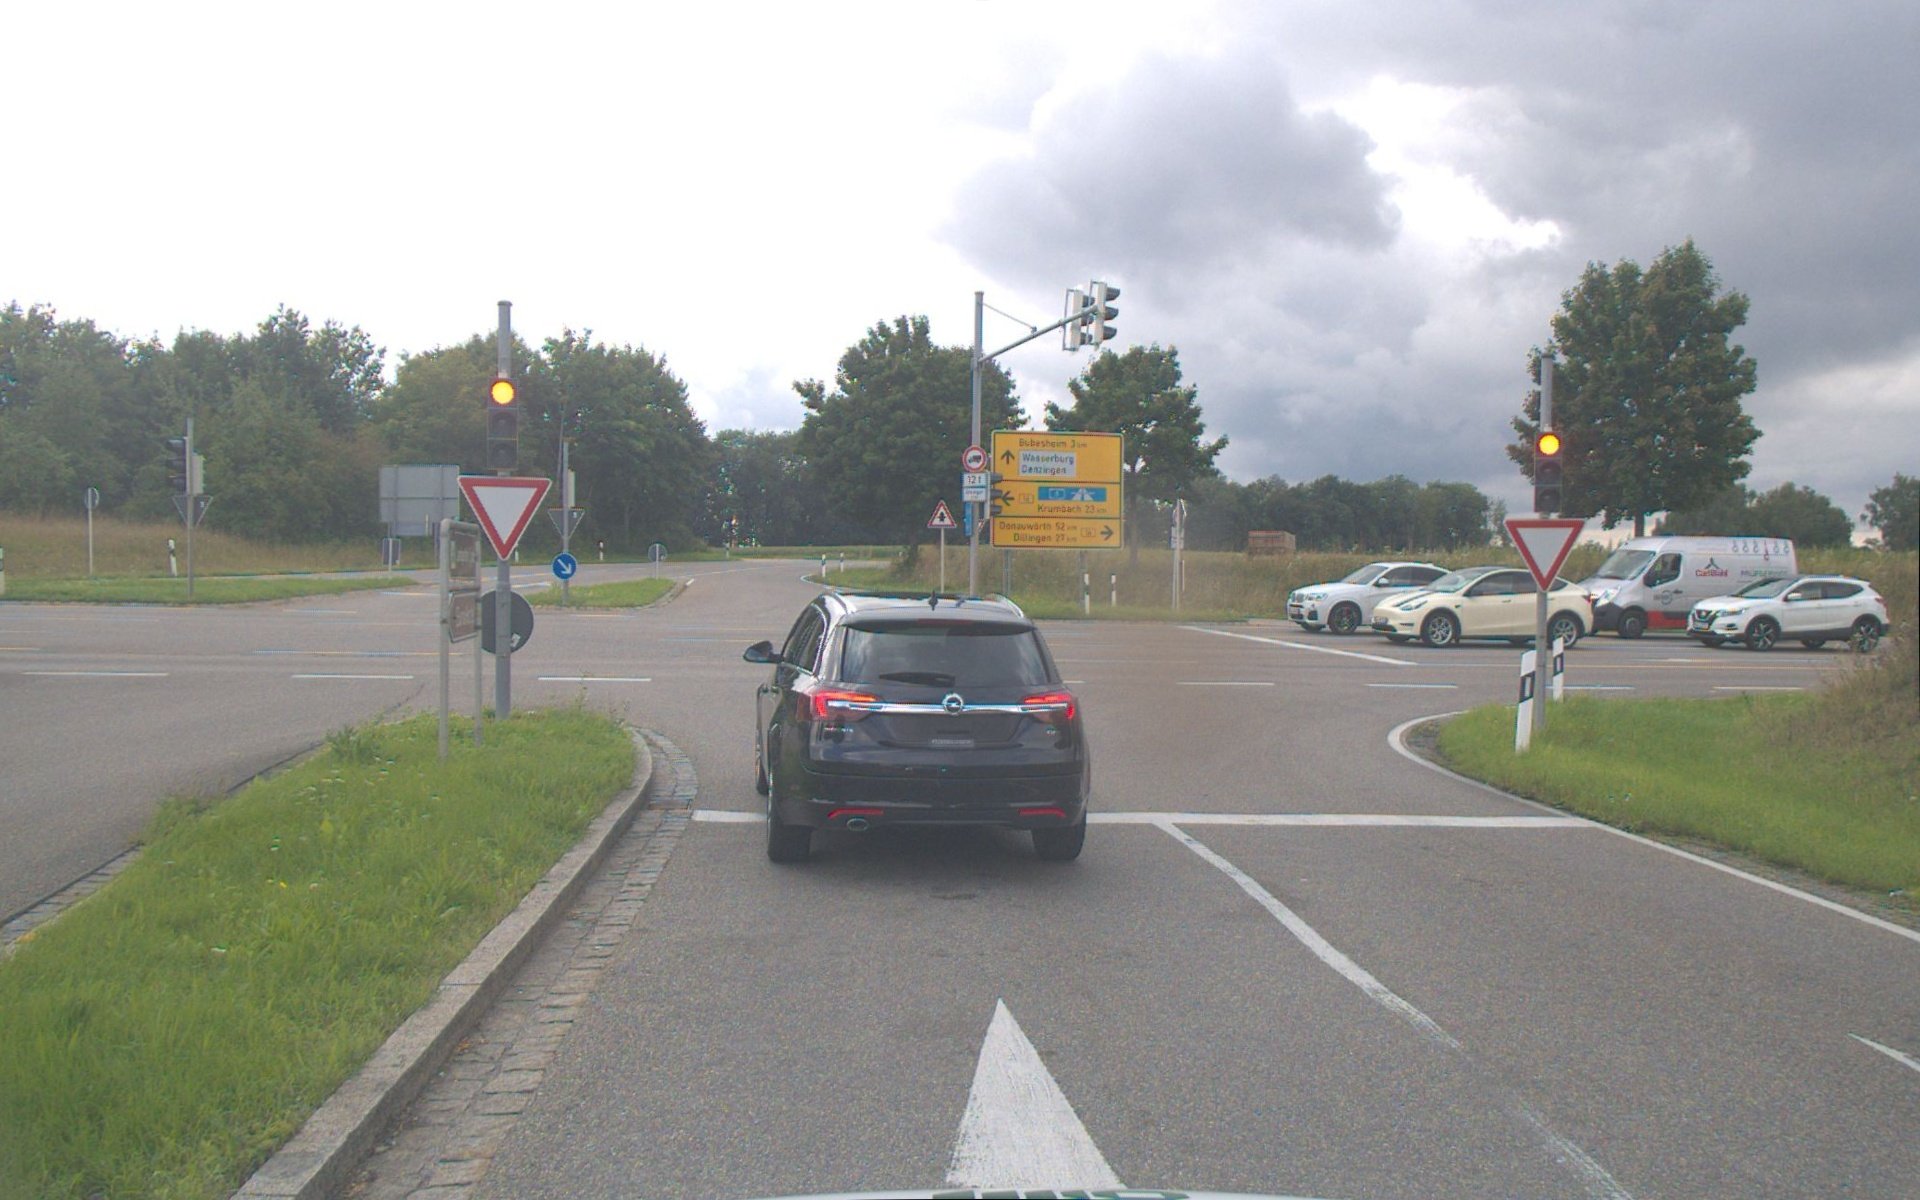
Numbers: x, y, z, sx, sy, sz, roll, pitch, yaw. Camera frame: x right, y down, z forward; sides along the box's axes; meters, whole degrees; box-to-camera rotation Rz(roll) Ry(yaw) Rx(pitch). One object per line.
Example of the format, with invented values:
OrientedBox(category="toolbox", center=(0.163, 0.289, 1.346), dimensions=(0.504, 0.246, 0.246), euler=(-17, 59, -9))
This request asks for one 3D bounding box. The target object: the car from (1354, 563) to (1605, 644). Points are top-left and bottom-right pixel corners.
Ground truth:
OrientedBox(category="car", center=(10.832, 0.071, 34.602), dimensions=(4.651, 1.592, 1.994), euler=(1, 0, -13))

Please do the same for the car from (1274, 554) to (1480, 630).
OrientedBox(category="car", center=(9.639, -0.188, 38.335), dimensions=(4.188, 1.657, 1.993), euler=(1, 0, -14))

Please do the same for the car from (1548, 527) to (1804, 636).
OrientedBox(category="car", center=(17.504, -0.436, 40.540), dimensions=(5.398, 2.484, 2.391), euler=(1, 0, -12))

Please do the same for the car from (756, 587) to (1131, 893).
OrientedBox(category="car", center=(-0.328, 0.685, 10.361), dimensions=(1.774, 1.476, 4.265), euler=(1, 1, -8))

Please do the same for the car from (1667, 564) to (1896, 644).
OrientedBox(category="car", center=(18.107, 0.075, 36.534), dimensions=(4.234, 1.658, 1.994), euler=(1, 0, -13))
